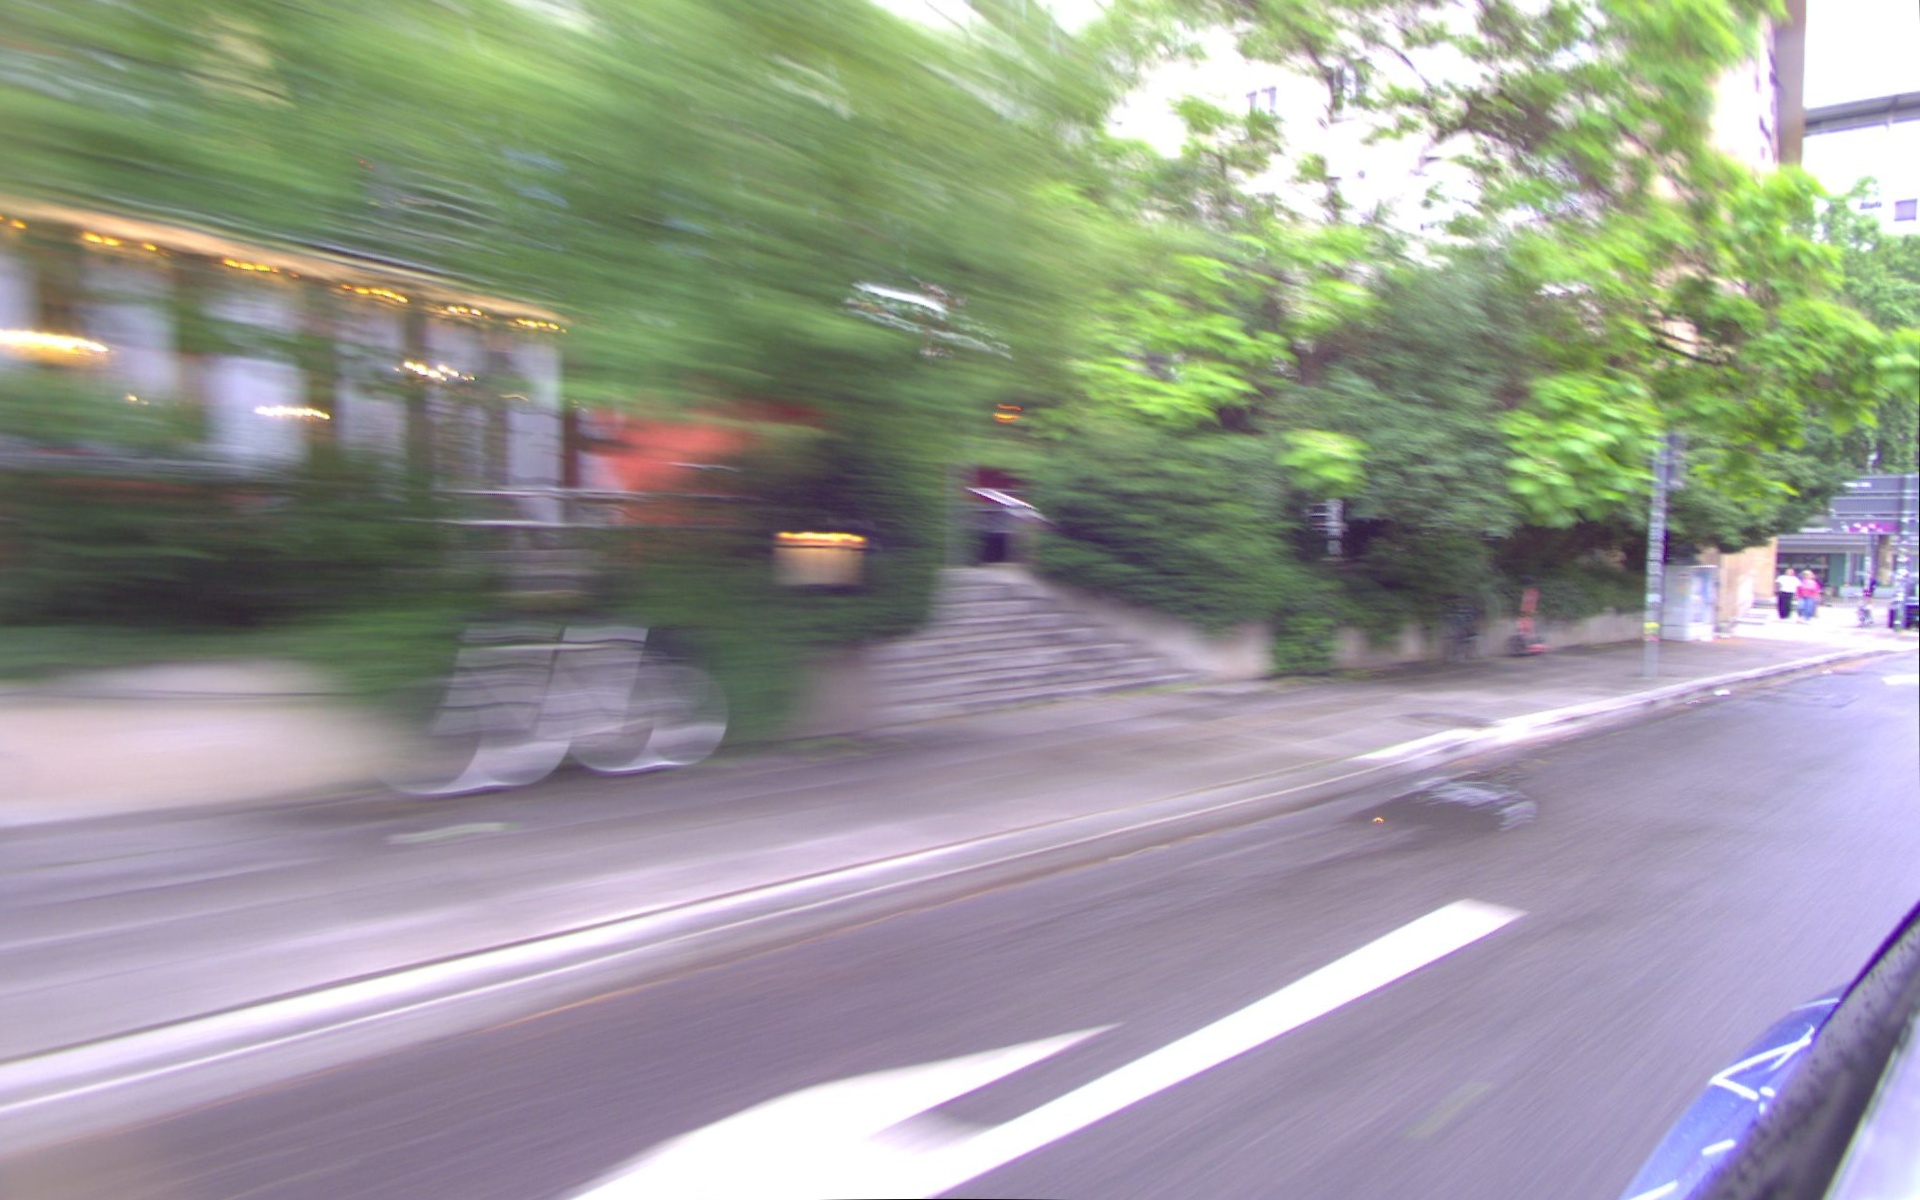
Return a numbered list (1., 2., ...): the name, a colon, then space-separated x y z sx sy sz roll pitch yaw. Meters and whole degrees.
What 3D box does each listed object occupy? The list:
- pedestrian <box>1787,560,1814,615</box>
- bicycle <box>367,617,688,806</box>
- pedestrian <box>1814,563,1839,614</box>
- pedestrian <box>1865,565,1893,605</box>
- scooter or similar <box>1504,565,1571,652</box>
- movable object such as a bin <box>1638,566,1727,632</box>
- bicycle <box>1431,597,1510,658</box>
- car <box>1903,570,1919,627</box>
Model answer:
1. pedestrian: 25.536 -0.390 30.758 0.523 1.622 0.665 2 3 36
2. bicycle: -2.466 0.586 5.901 1.659 0.896 0.471 -1 3 -39
3. pedestrian: 26.162 -0.346 30.554 0.524 1.510 0.664 2 3 40
4. pedestrian: 41.816 -0.706 46.037 0.847 1.793 0.781 -1 3 -40
5. scooter or similar: 8.946 0.117 15.672 1.190 1.274 0.448 -1 4 -40
6. movable object such as a bin: 15.866 -0.042 22.239 1.211 1.325 1.243 -1 5 -38
7. bicycle: 7.262 0.378 14.384 1.190 0.763 0.502 -1 7 -40
8. car: 30.526 -0.060 31.165 4.086 1.639 1.771 -2 4 -41
